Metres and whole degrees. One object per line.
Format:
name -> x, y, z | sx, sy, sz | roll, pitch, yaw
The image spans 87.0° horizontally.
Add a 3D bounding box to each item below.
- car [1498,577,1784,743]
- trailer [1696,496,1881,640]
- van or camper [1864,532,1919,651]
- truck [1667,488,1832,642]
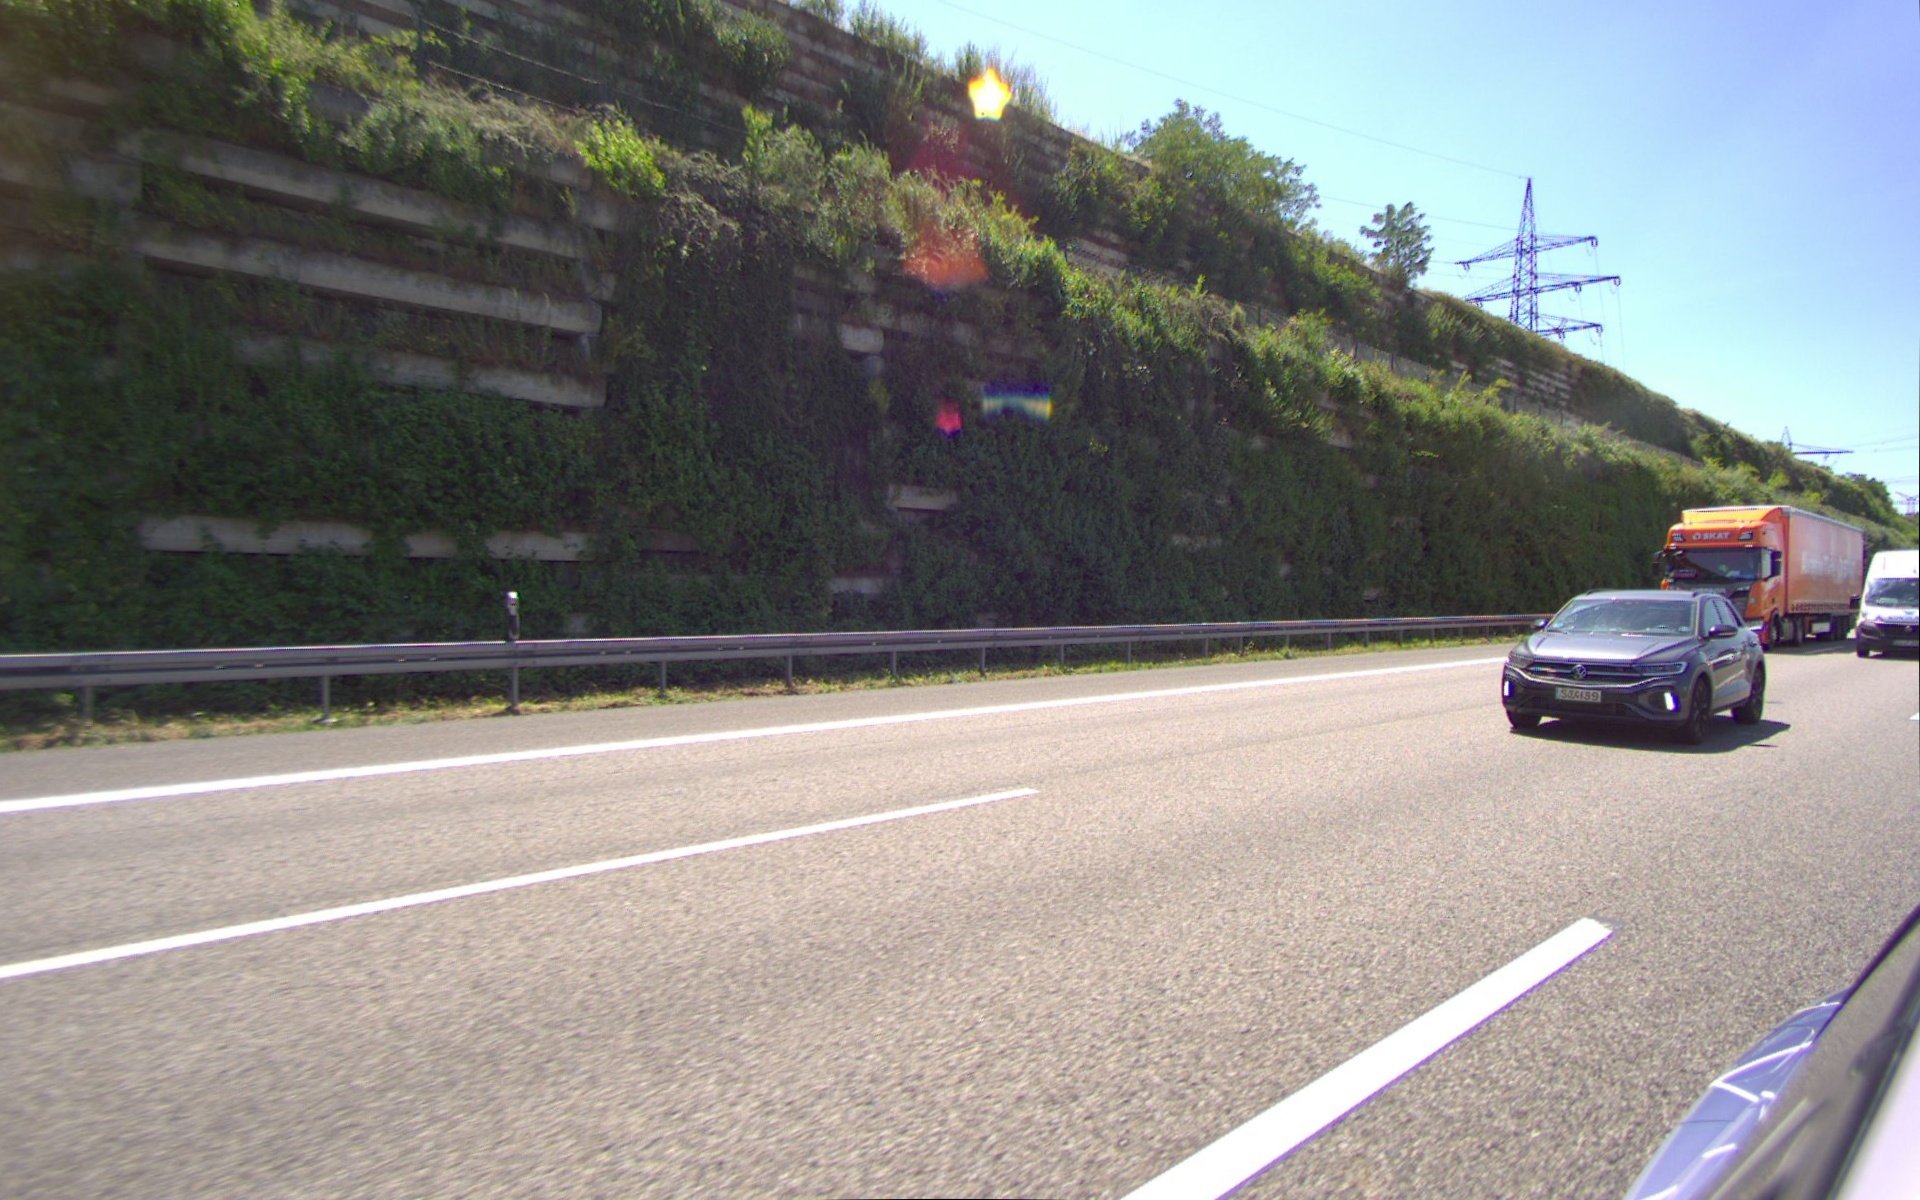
car -> 7.811, 0.533, 11.480 | 3.926, 1.544, 1.752 | 0, 2, -41
trailer -> 28.080, -0.958, 33.927 | 13.369, 4.055, 2.649 | 0, 1, -41
van or camper -> 25.235, -0.218, 26.107 | 6.640, 2.803, 2.100 | 0, 1, -42
truck -> 23.225, -0.968, 29.662 | 6.413, 4.042, 2.622 | 0, 1, -41
